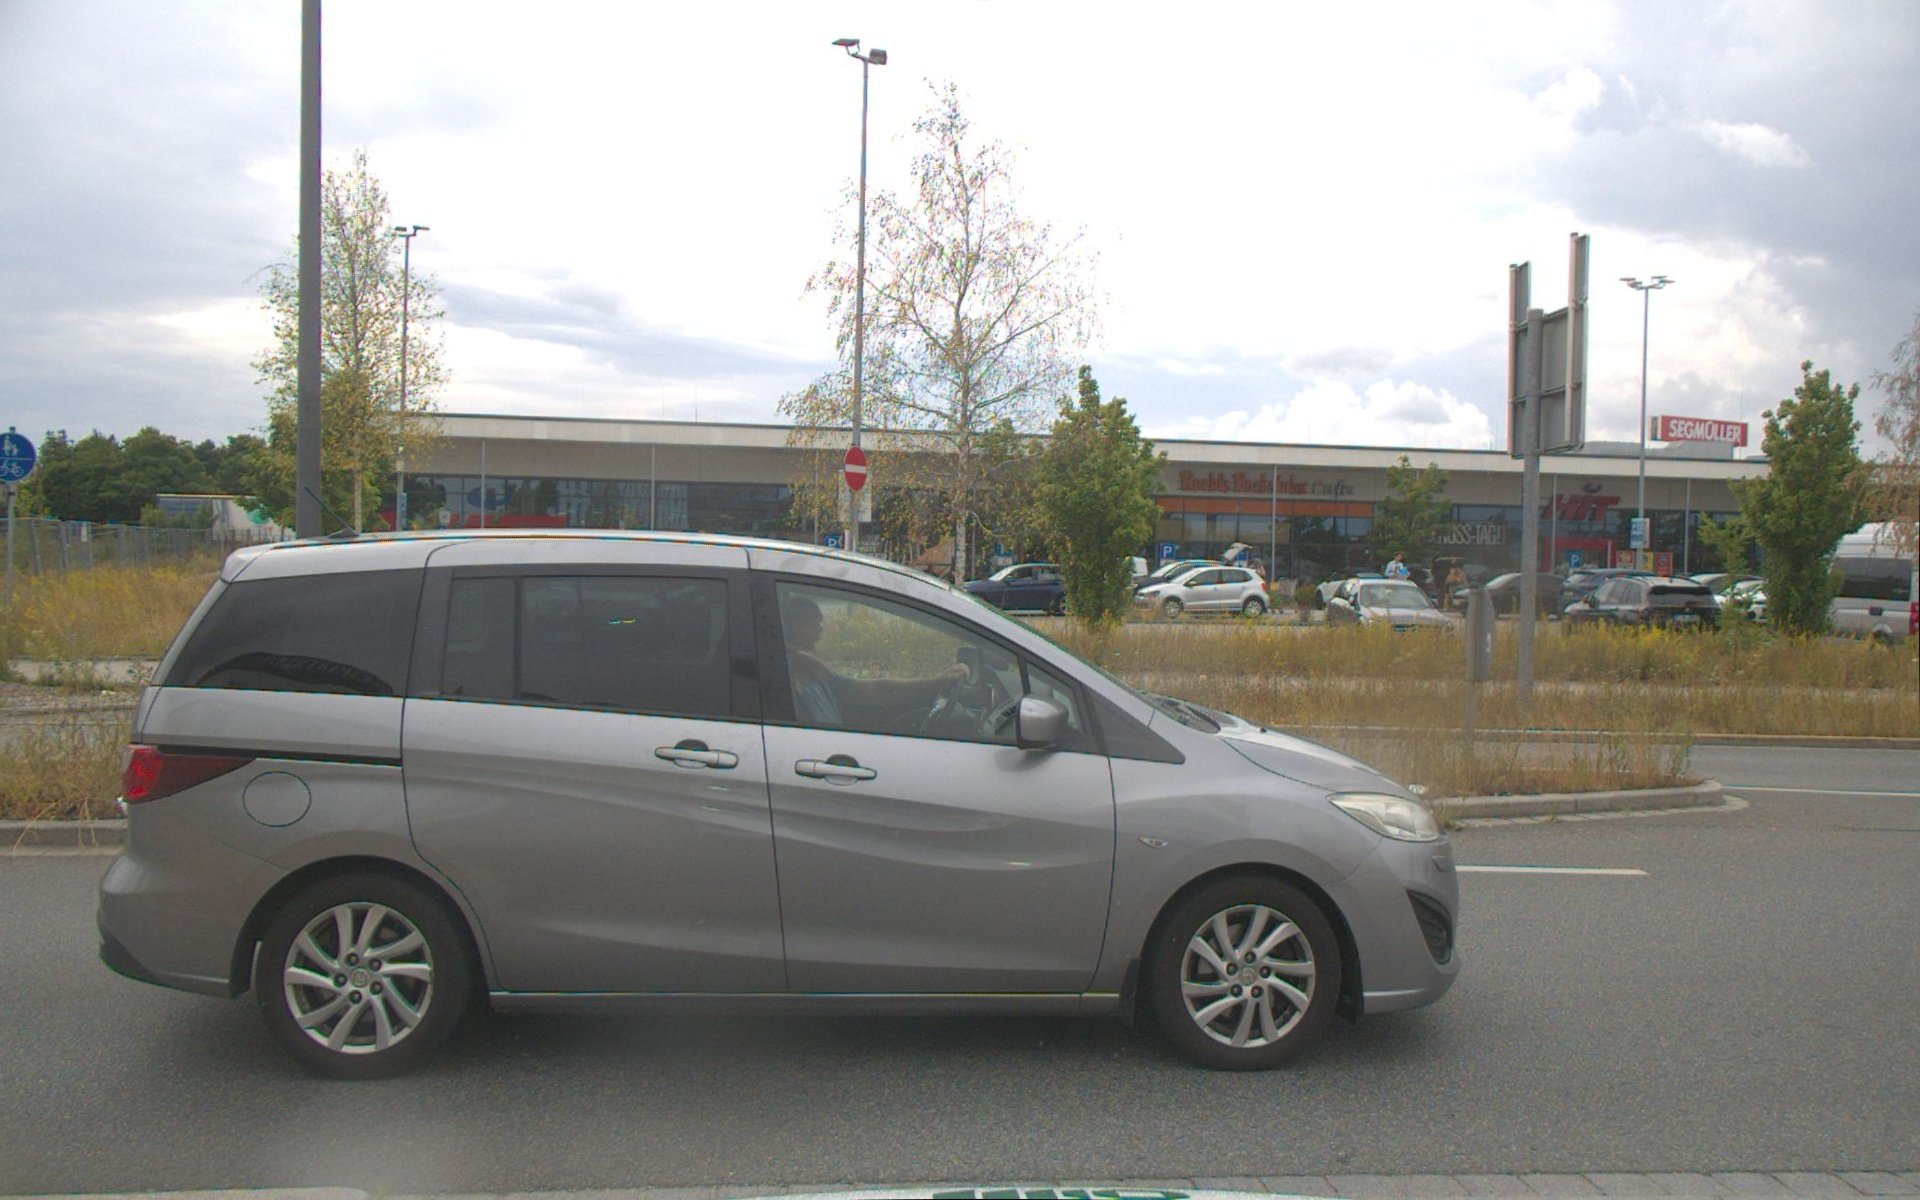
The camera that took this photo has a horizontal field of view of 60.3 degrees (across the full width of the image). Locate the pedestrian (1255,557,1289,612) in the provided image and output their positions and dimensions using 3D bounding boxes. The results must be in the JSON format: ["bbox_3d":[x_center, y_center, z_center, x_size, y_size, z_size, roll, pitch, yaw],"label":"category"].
[{"bbox_3d":[9.565,-0.469,50.723,0.805,1.660,0.899,1,1,-3],"label":"pedestrian"}]

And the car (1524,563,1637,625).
[{"bbox_3d":[17.936,-0.215,47.992,1.777,1.682,4.001,1,2,0],"label":"car"}]

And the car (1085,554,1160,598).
[{"bbox_3d":[5.950,-0.907,60.892,1.955,1.534,3.996,1,2,-6],"label":"car"}]

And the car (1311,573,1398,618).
[{"bbox_3d":[14.765,-0.192,62.124,1.955,1.534,3.996,1,2,-6],"label":"car"}]

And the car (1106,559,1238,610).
[{"bbox_3d":[6.453,-0.481,50.439,3.677,1.479,1.665,1,2,-9],"label":"car"}]

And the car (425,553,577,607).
[{"bbox_3d":[-12.844,-0.560,46.479,3.915,1.375,1.995,1,1,-11],"label":"car"}]

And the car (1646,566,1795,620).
[{"bbox_3d":[24.572,-0.234,53.534,3.905,1.646,2.000,1,1,0],"label":"car"}]

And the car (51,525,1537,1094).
[{"bbox_3d":[-0.476,0.577,5.750,4.302,1.590,1.819,1,3,-6],"label":"car"}]

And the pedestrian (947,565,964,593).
[{"bbox_3d":[-0.177,-0.856,67.530,0.566,1.143,0.560,1,1,-12],"label":"pedestrian"}]

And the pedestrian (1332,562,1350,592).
[{"bbox_3d":[16.012,-0.961,69.511,0.549,1.222,0.527,1,1,-8],"label":"pedestrian"}]

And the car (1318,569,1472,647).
[{"bbox_3d":[8.622,0.110,33.156,1.948,1.408,4.150,1,1,0],"label":"car"}]

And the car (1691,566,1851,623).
[{"bbox_3d":[24.802,-0.185,50.691,3.905,1.646,2.000,1,1,0],"label":"car"}]

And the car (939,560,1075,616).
[{"bbox_3d":[1.300,-0.351,46.332,3.540,1.479,1.664,1,2,-10],"label":"car"}]

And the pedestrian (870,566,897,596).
[{"bbox_3d":[-3.179,-0.795,68.498,0.953,1.174,1.131,1,2,-10],"label":"pedestrian"}]

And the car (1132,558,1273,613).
[{"bbox_3d":[6.960,-0.418,47.553,3.677,1.479,1.665,1,2,-9],"label":"car"}]

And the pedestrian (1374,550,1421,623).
[{"bbox_3d":[12.483,-0.385,47.193,0.851,2.048,0.999,1,1,-17],"label":"pedestrian"}]

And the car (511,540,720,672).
[{"bbox_3d":[-4.233,-0.009,21.017,1.743,1.470,4.610,1,2,-1],"label":"car"}]

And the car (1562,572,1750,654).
[{"bbox_3d":[13.711,0.216,32.874,1.948,1.476,4.150,1,1,0],"label":"car"}]

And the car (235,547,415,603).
[{"bbox_3d":[-19.557,-0.766,51.159,4.921,1.585,1.994,1,1,-13],"label":"car"}]

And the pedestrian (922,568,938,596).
[{"bbox_3d":[-1.239,-0.749,68.330,0.566,1.143,0.560,1,1,-12],"label":"pedestrian"}]

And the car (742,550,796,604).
[{"bbox_3d":[-6.702,-0.847,58.478,1.789,1.729,4.230,1,2,-6],"label":"car"}]

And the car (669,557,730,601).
[{"bbox_3d":[-9.081,-0.759,57.977,1.870,1.469,3.996,1,2,-6],"label":"car"}]

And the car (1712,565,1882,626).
[{"bbox_3d":[24.317,-0.144,48.143,3.905,1.646,2.000,1,1,0],"label":"car"}]

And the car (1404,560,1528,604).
[{"bbox_3d":[18.607,-0.671,60.908,3.911,1.534,1.997,1,2,-7],"label":"car"}]

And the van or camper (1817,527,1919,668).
[{"bbox_3d":[18.446,-0.040,31.623,2.235,2.535,4.003,2,1,5],"label":"van or camper"}]
